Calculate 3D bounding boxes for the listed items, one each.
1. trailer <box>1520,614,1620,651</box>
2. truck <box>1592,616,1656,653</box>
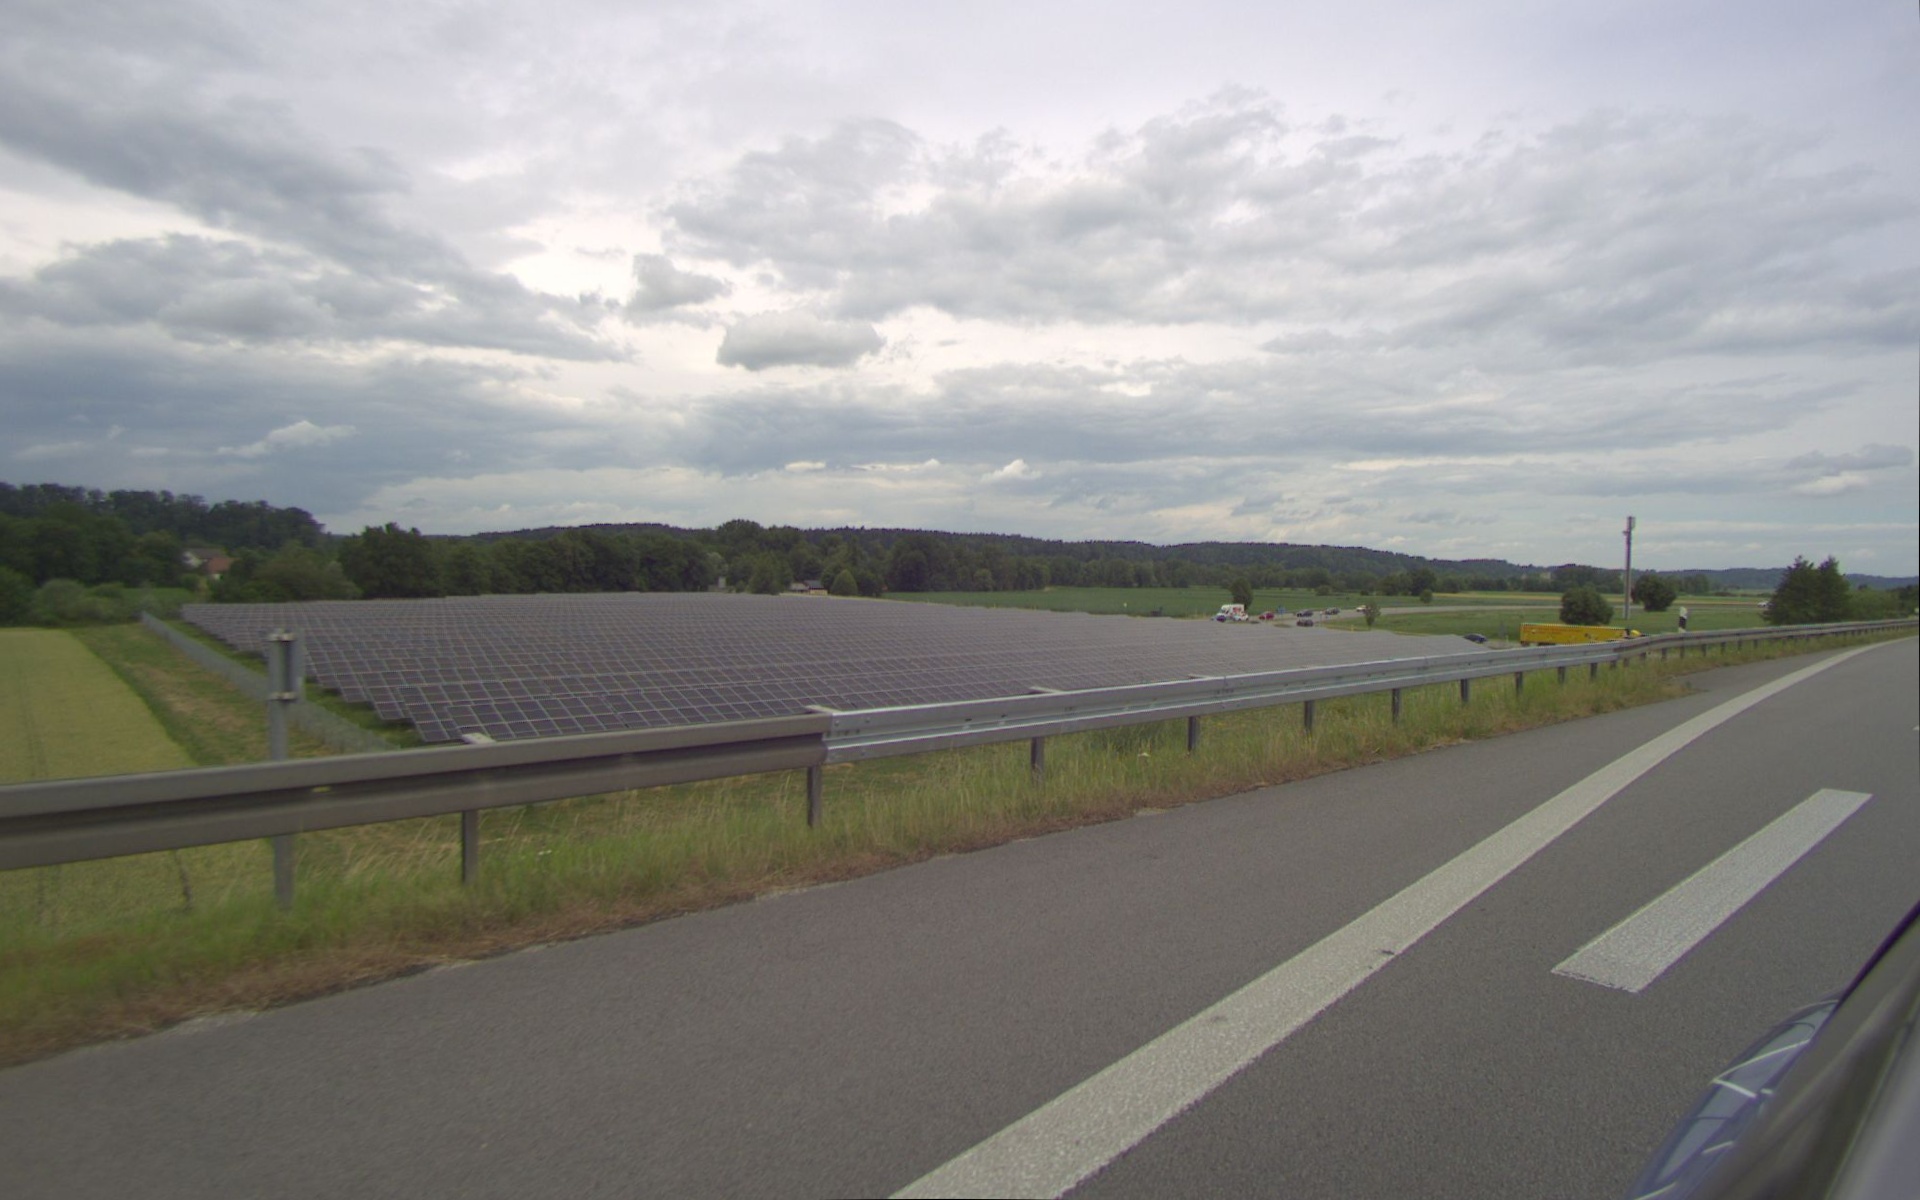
[{"bbox_3d":[89.894,4.714,149.407,2.970,4.847,12.278,1,1,-44],"label":"trailer"},{"bbox_3d":[94.721,4.888,144.460,2.970,4.847,7.122,1,1,-44],"label":"truck"}]
